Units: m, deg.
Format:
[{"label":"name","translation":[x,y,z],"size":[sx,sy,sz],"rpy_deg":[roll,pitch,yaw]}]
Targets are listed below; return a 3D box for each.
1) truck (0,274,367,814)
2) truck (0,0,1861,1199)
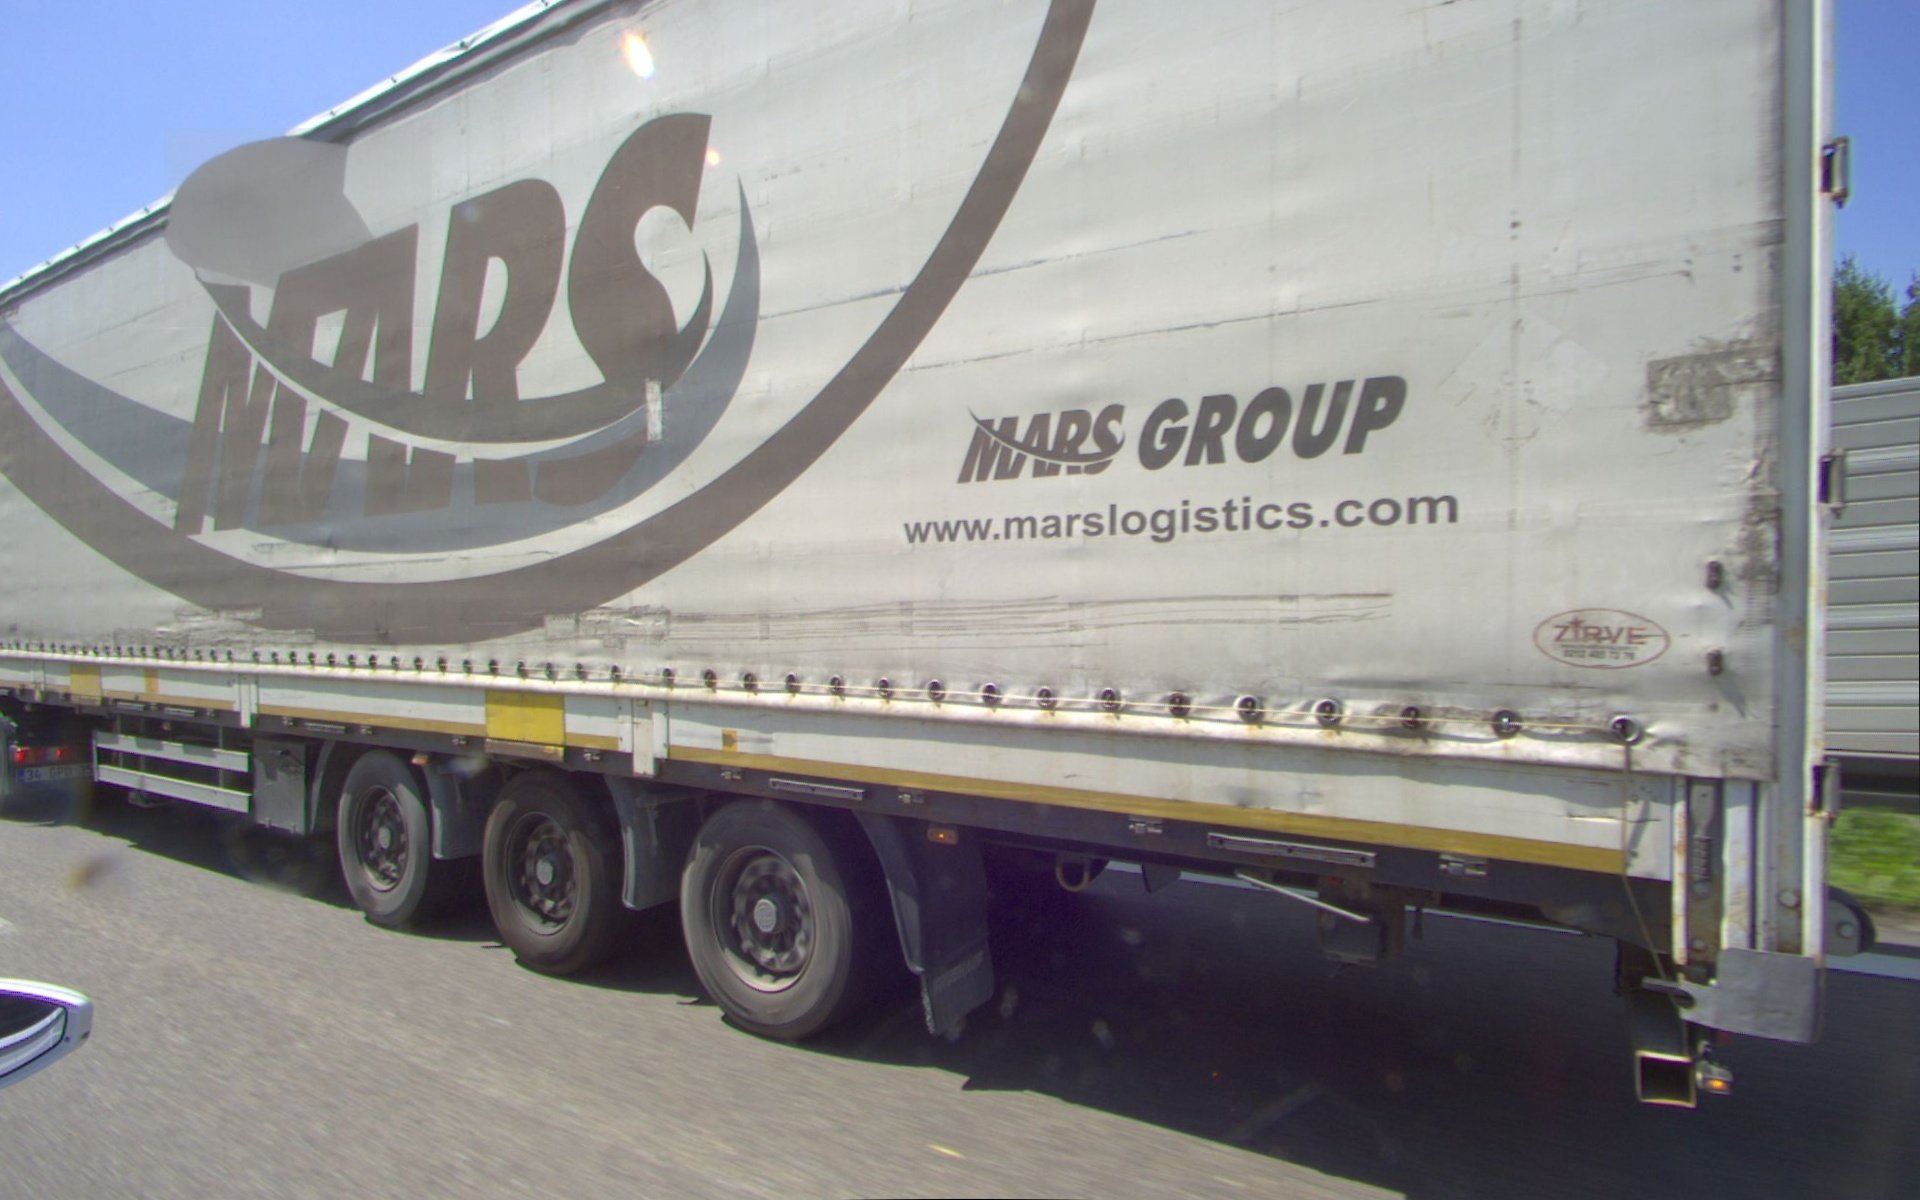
[{"label":"truck","translation":[-8.995,-0.336,10.318],"size":[5.673,4.120,2.714],"rpy_deg":[-2,-1,33]},{"label":"truck","translation":[-3.358,-0.511,6.667],"size":[13.549,4.120,2.720],"rpy_deg":[-2,-1,33]}]
